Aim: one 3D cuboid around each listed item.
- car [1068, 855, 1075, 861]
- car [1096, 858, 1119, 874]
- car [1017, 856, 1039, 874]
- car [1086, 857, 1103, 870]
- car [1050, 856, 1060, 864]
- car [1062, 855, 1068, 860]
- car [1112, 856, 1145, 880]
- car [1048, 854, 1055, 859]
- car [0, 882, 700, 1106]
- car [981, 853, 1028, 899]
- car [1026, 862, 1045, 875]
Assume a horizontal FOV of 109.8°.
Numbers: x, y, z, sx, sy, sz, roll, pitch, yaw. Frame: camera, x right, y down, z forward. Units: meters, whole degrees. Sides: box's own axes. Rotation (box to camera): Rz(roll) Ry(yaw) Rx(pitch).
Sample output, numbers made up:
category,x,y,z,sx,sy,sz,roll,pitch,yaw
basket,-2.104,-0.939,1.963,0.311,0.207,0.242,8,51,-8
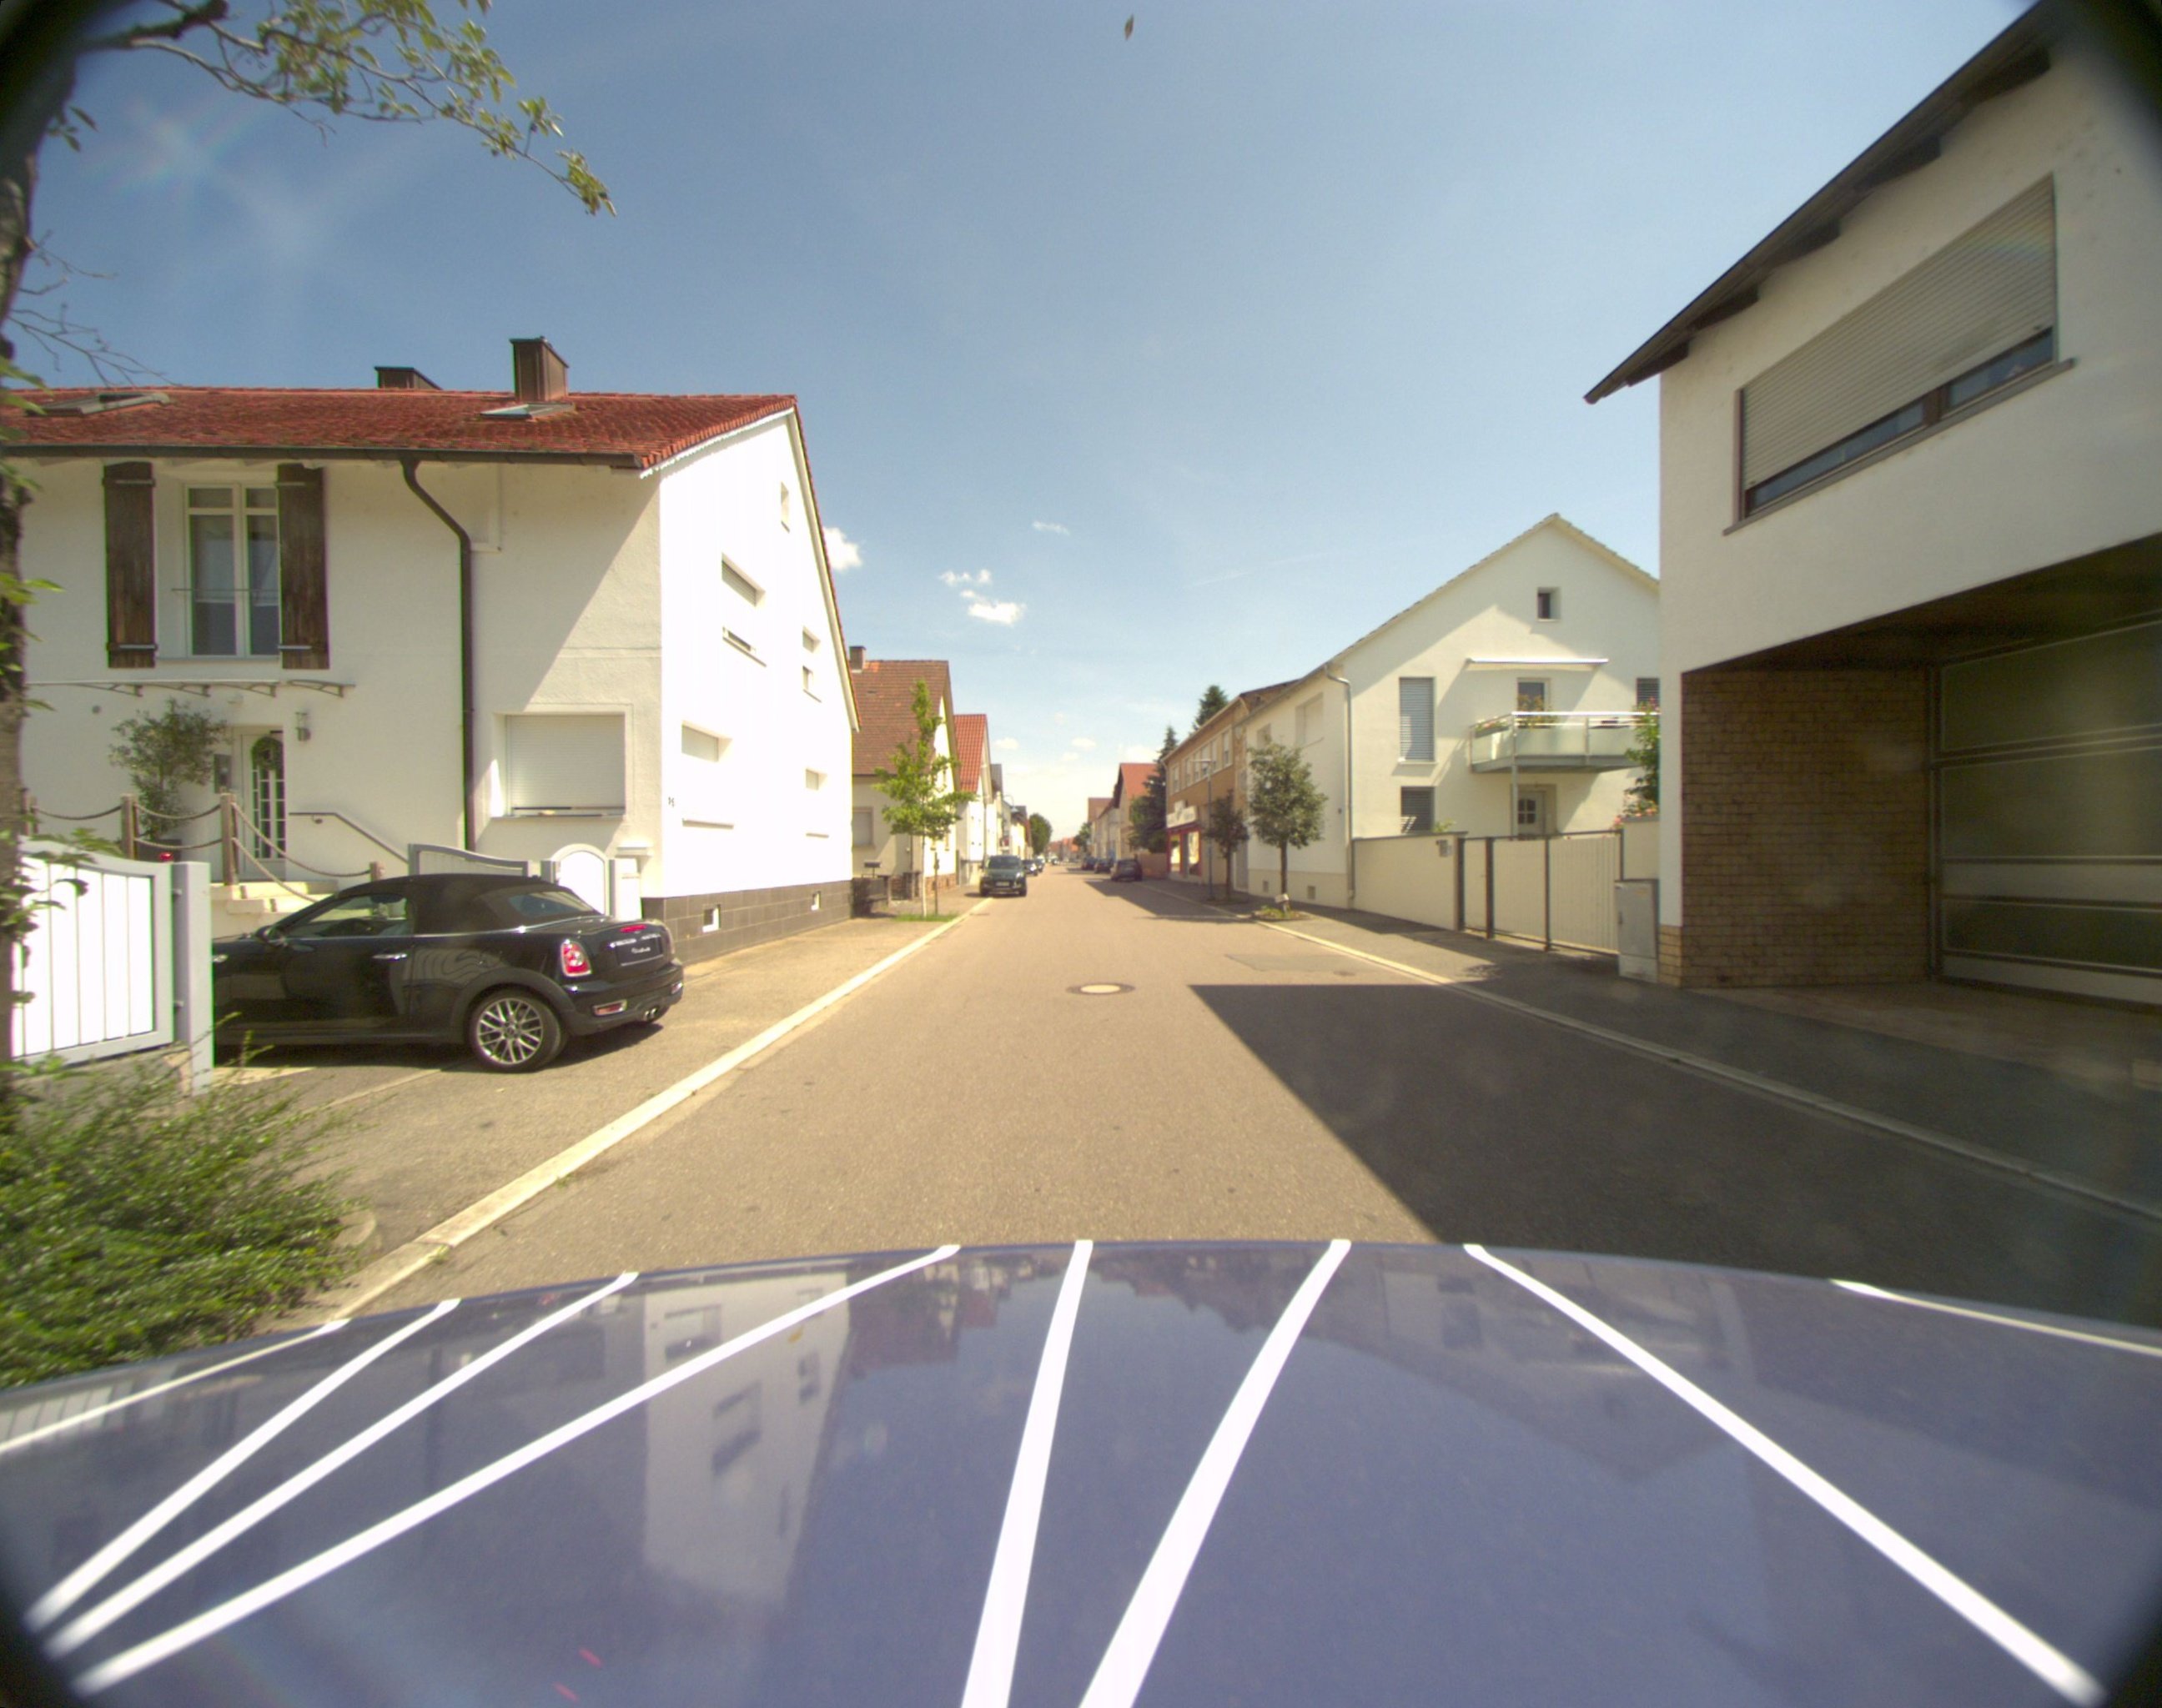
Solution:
category,x,y,z,sx,sy,sz,roll,pitch,yaw
car,-2.775,1.195,223.590,1.727,1.385,4.170,-1,-2,0
car,2.396,1.092,70.108,1.766,1.366,4.065,-2,0,-2
car,-4.433,0.917,63.538,1.693,1.414,3.656,-1,0,-2
car,1.542,1.117,88.183,1.702,1.403,4.389,-1,0,-2
car,-4.950,1.151,145.301,1.598,1.533,4.200,-3,1,1
car,-5.060,1.122,242.007,1.598,1.385,4.167,-2,0,-2
car,3.020,0.867,49.030,1.773,1.451,4.436,-1,0,0
car,-8.157,0.719,210.096,1.848,1.385,4.168,-1,-2,-4
car,-5.448,0.979,6.045,3.932,1.407,1.740,-1,0,-1
car,-3.072,0.835,31.268,1.733,1.707,4.274,-1,0,-4
car,-4.849,1.502,80.781,1.820,1.268,4.146,-1,0,-1
